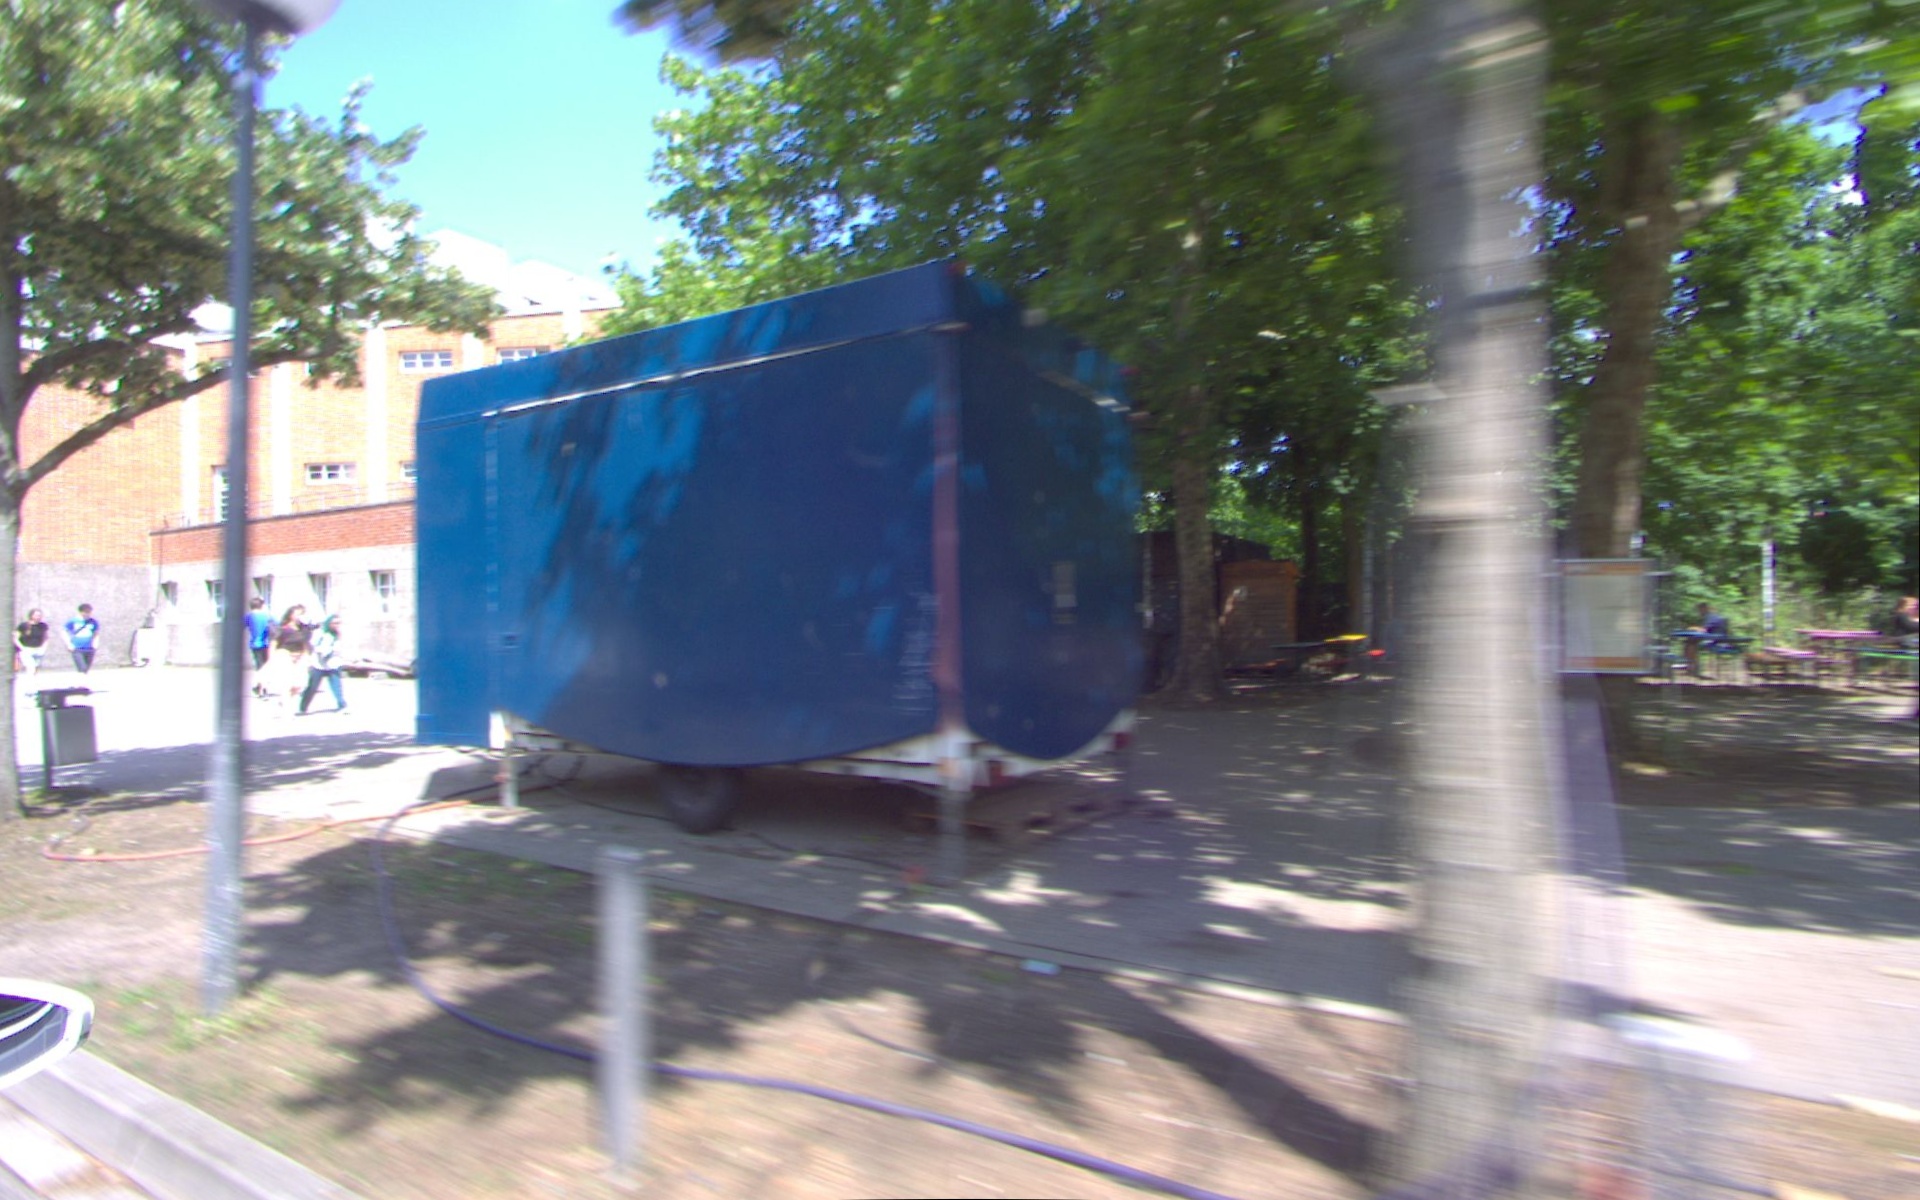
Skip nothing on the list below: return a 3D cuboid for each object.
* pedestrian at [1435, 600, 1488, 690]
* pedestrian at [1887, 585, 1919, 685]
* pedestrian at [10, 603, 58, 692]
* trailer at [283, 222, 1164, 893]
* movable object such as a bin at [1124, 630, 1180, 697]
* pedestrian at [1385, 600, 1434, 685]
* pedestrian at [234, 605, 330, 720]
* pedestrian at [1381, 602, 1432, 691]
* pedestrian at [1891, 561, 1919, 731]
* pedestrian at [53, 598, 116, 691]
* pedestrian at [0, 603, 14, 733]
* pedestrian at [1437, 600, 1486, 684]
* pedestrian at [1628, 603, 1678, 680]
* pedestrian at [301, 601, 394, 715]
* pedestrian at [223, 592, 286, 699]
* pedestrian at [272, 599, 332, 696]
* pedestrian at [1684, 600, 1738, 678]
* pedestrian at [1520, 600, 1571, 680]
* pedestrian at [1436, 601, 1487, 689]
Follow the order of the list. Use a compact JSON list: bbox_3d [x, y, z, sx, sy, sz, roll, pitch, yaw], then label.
[{"bbox_3d":[7.867,0.690,15.722,0.718,1.365,0.568,0,3,27],"label":"pedestrian"},{"bbox_3d":[15.808,0.557,16.414,0.707,1.604,0.666,0,3,27],"label":"pedestrian"},{"bbox_3d":[-17.816,0.903,19.270,0.561,1.653,0.501,2,2,23],"label":"pedestrian"},{"bbox_3d":[-1.914,-0.156,7.368,6.165,3.092,2.687,-1,0,31],"label":"trailer"},{"bbox_3d":[3.207,1.062,16.731,0.732,1.084,0.598,-3,-2,32],"label":"movable object such as a bin"},{"bbox_3d":[7.534,0.701,16.785,0.718,1.365,0.568,0,3,27],"label":"pedestrian"},{"bbox_3d":[-10.231,0.908,15.123,0.935,1.660,0.873,0,1,31],"label":"pedestrian"},{"bbox_3d":[7.160,0.730,16.065,0.718,1.365,0.568,0,3,27],"label":"pedestrian"},{"bbox_3d":[10.008,0.448,10.065,0.812,1.683,0.764,-1,0,32],"label":"pedestrian"},{"bbox_3d":[-17.563,0.874,20.093,0.740,1.812,0.708,2,2,23],"label":"pedestrian"},{"bbox_3d":[-12.365,0.851,12.238,0.815,1.616,0.849,0,1,-11],"label":"pedestrian"},{"bbox_3d":[8.390,0.688,16.757,0.718,1.365,0.568,0,3,27],"label":"pedestrian"},{"bbox_3d":[12.187,0.715,17.633,0.612,1.289,0.666,0,3,27],"label":"pedestrian"},{"bbox_3d":[-9.689,0.882,15.858,0.934,1.662,0.873,3,5,30],"label":"pedestrian"},{"bbox_3d":[-13.151,0.823,18.663,0.982,1.918,0.697,1,3,42],"label":"pedestrian"},{"bbox_3d":[-12.740,0.892,19.384,0.982,1.828,0.698,1,2,40],"label":"pedestrian"},{"bbox_3d":[12.992,0.658,17.336,0.612,1.289,0.666,0,3,27],"label":"pedestrian"},{"bbox_3d":[10.291,0.687,17.624,0.708,1.365,0.666,0,3,27],"label":"pedestrian"},{"bbox_3d":[8.133,0.709,16.238,0.718,1.365,0.568,0,3,27],"label":"pedestrian"}]
